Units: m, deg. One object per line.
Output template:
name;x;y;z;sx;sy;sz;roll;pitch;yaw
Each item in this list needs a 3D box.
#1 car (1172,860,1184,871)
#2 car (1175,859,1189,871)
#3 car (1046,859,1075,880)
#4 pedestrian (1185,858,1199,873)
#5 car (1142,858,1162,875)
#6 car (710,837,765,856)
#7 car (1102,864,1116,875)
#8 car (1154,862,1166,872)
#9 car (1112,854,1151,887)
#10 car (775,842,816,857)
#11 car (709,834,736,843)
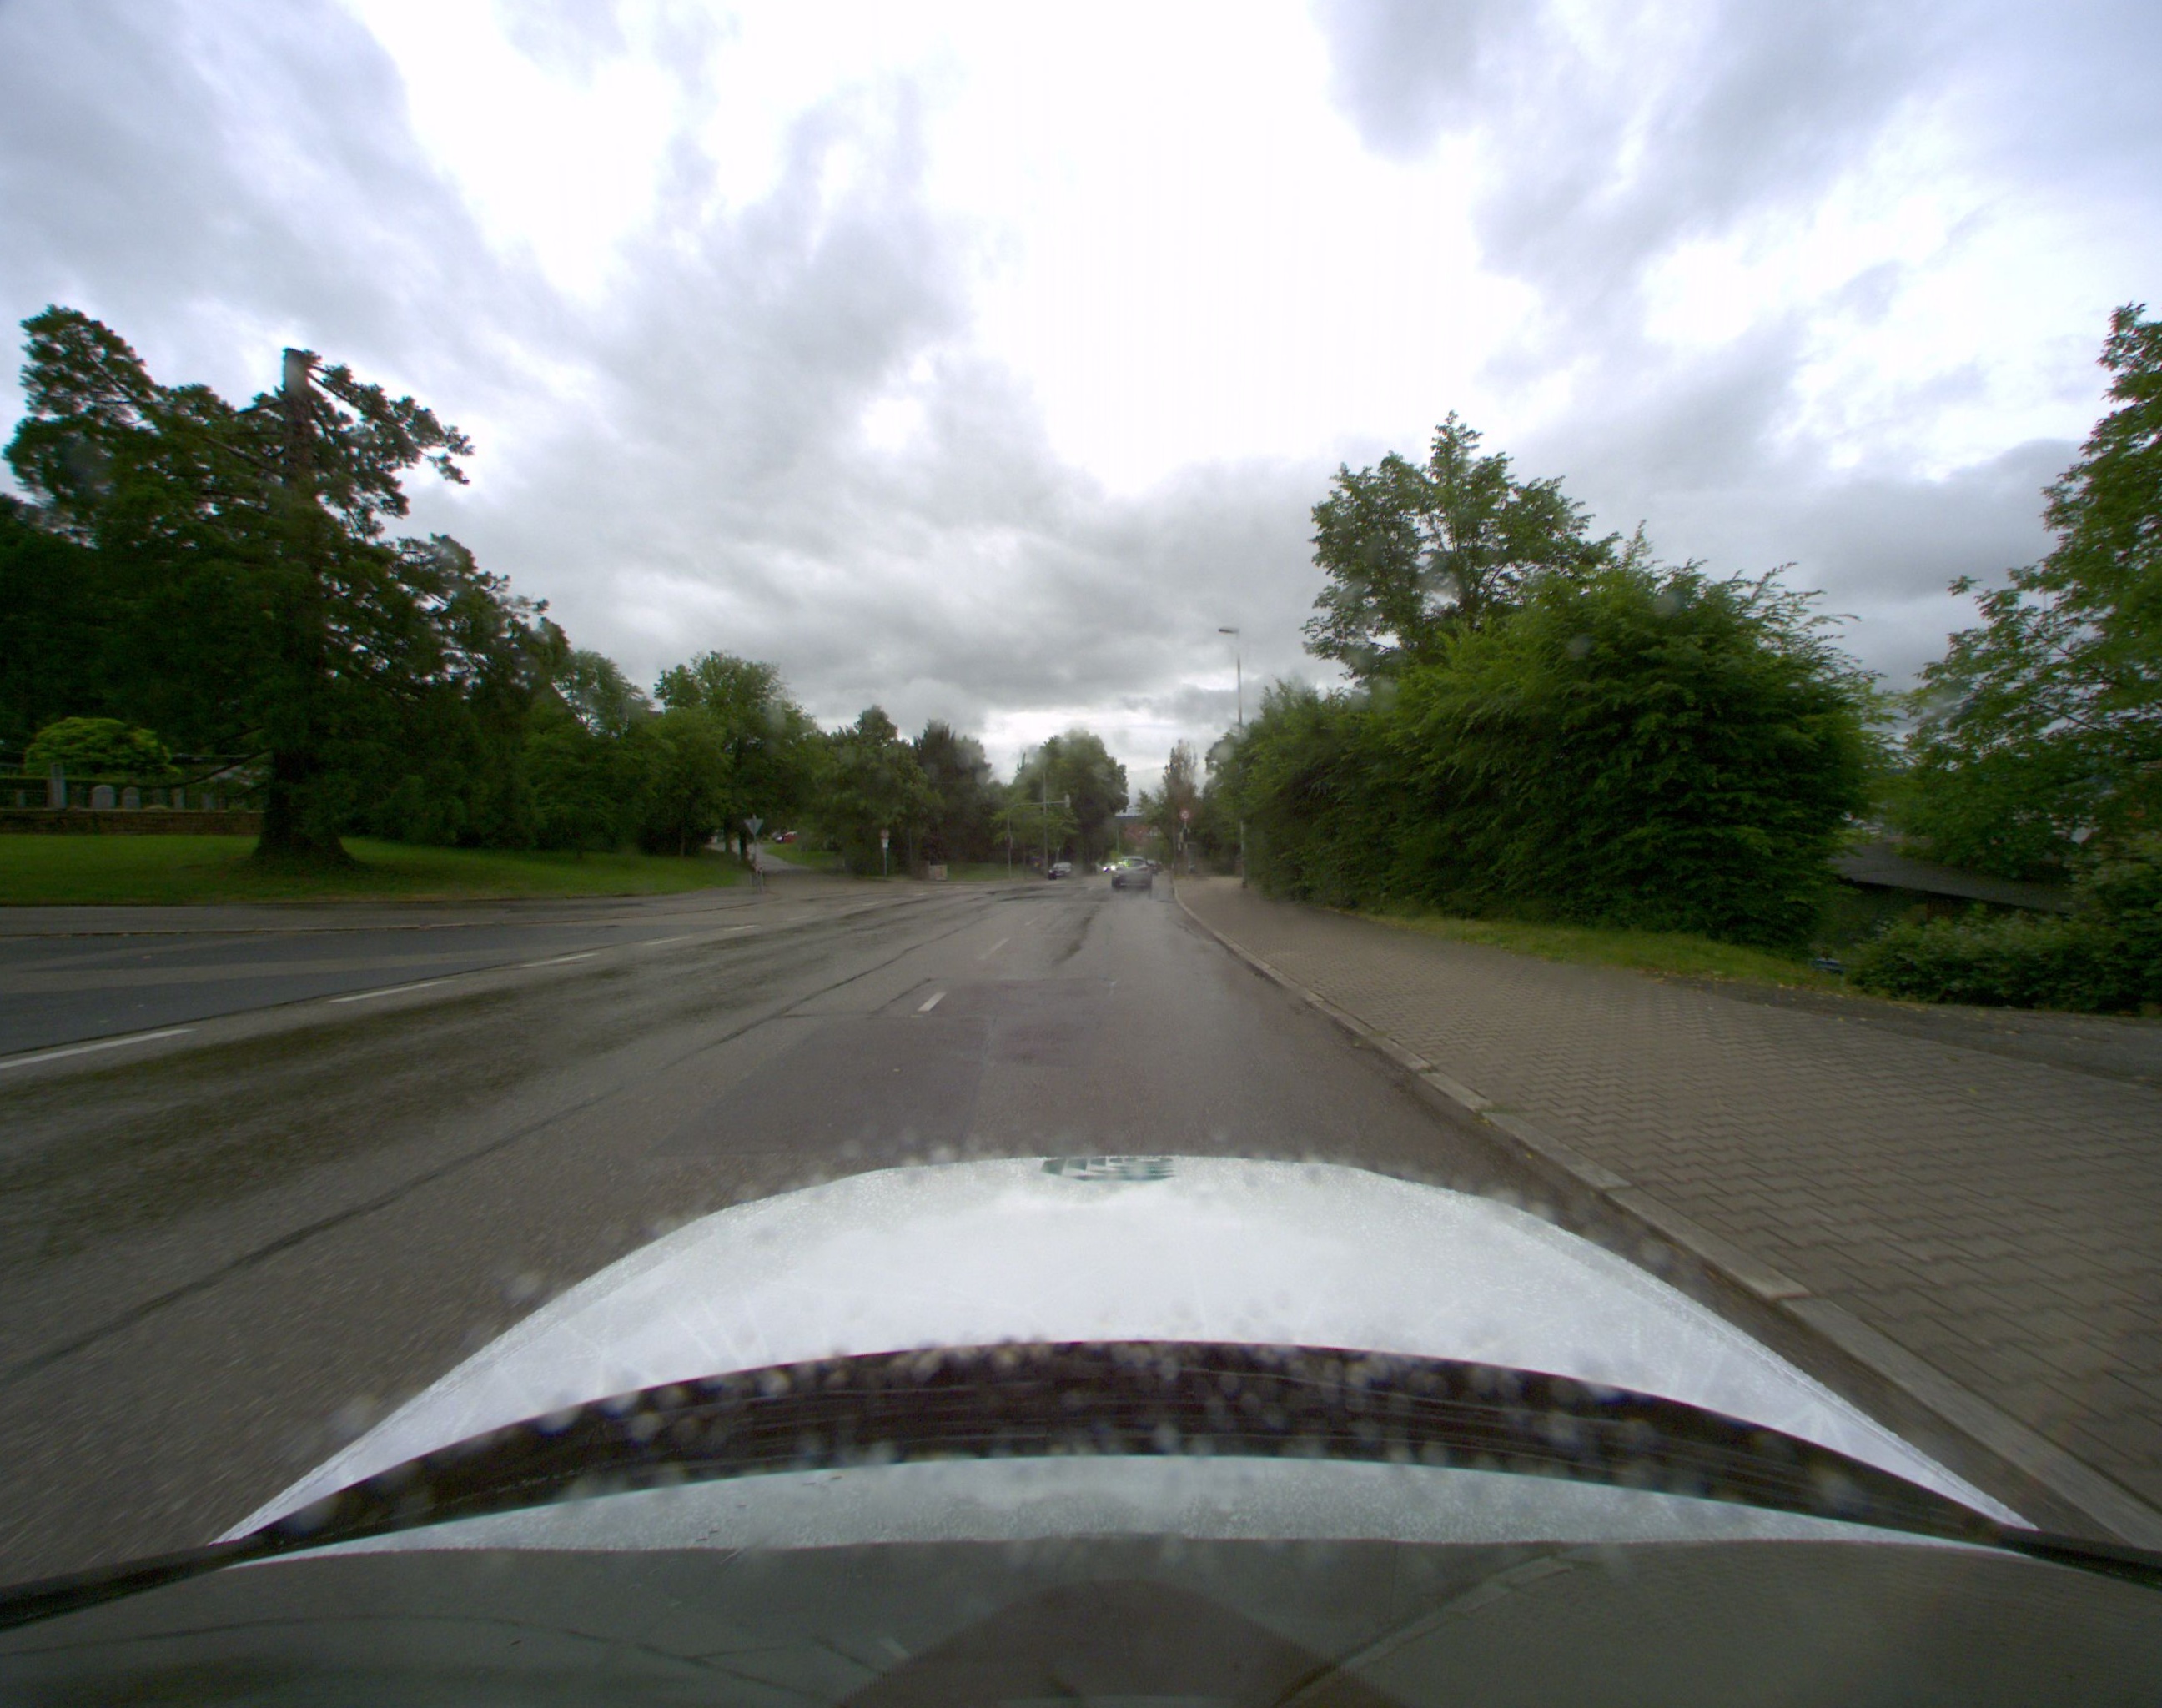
car;14.448;1.727;121.511;1.712;1.464;4.007;-3;-1;7
car;13.140;1.376;106.384;1.712;1.464;4.007;-3;-1;7
car;-1.520;1.161;61.726;1.652;1.306;4.091;-3;1;6
pedestrian;10.039;1.024;73.650;1.066;1.355;0.921;-3;-1;13
car;6.542;1.125;75.105;1.713;1.464;4.005;2;0;5
car;-27.651;-0.601;65.694;3.905;1.486;1.924;-1;-1;-17
car;3.934;2.161;113.644;1.713;1.399;4.007;1;0;6
car;11.966;1.939;123.022;1.713;1.464;4.005;2;0;5
car;2.455;0.742;38.991;1.746;1.464;4.005;1;0;5
car;-29.822;-0.504;85.124;3.905;1.486;1.924;-1;-1;-17
car;-59.906;-2.575;135.978;4.008;1.384;1.712;2;0;-27
